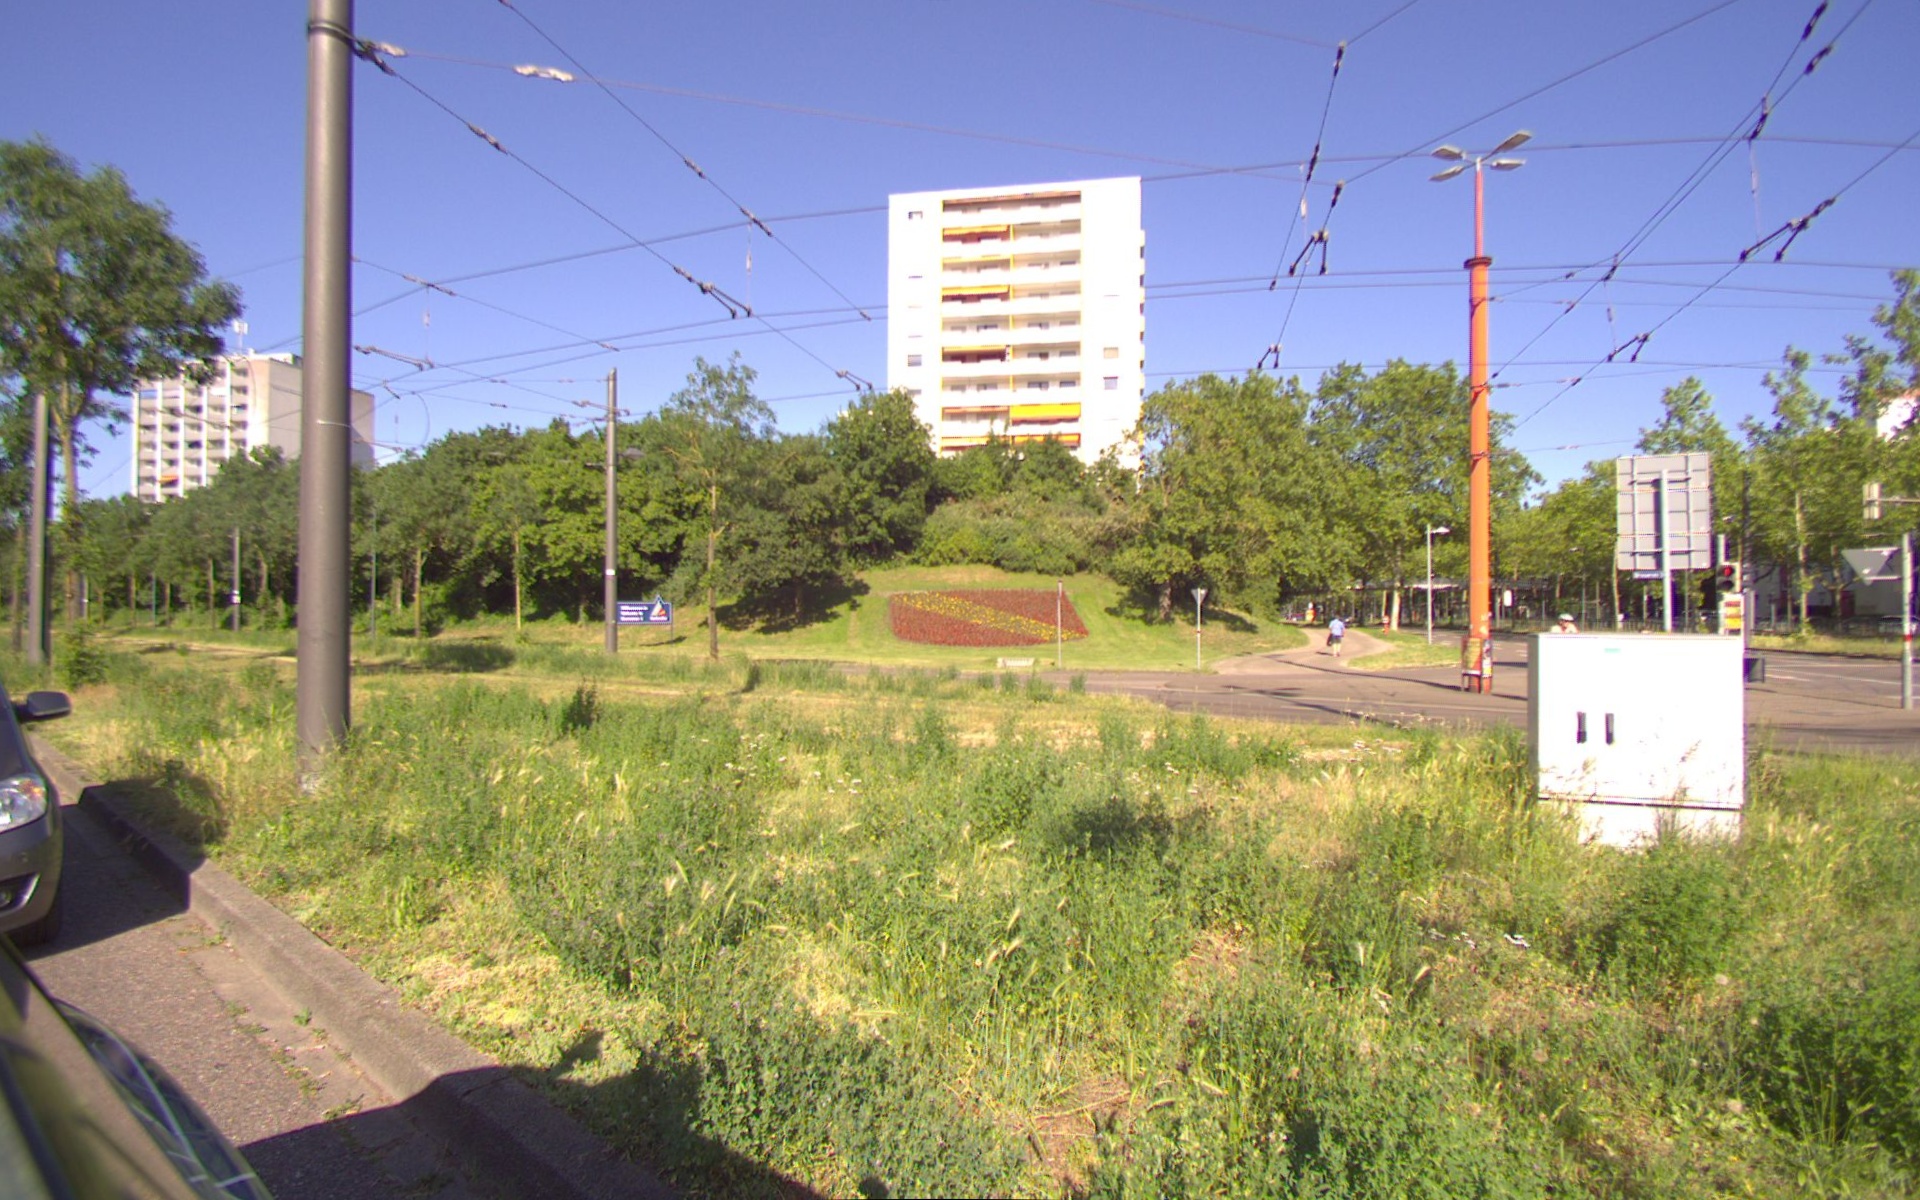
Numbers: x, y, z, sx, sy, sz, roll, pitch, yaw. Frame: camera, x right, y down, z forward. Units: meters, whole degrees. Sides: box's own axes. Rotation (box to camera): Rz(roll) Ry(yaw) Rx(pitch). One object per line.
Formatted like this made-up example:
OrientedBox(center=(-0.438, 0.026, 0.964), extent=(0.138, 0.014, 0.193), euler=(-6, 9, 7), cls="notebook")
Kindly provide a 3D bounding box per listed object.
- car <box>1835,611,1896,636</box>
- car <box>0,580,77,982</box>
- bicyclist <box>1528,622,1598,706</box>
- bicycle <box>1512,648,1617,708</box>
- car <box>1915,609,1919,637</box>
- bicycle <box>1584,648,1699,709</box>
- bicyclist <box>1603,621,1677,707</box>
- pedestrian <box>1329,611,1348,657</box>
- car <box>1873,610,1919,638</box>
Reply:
OrientedBox(center=(66.008, 1.704, 73.763), extent=(3.931, 1.829, 2.006), euler=(1, -2, -27), cls="car")
OrientedBox(center=(-5.946, 0.755, 5.042), extent=(4.382, 1.619, 1.754), euler=(-1, -2, 41), cls="car")
OrientedBox(center=(12.090, 1.260, 20.300), extent=(0.920, 1.650, 0.741), euler=(0, -1, -1), cls="bicyclist")
OrientedBox(center=(12.085, 1.537, 20.317), extent=(0.915, 1.095, 1.888), euler=(0, -1, -2), cls="bicycle")
OrientedBox(center=(64.398, 1.510, 65.904), extent=(3.931, 1.829, 2.006), euler=(1, -2, -27), cls="car")
OrientedBox(center=(13.351, 1.522, 19.915), extent=(0.915, 1.095, 1.888), euler=(0, -1, -2), cls="bicycle")
OrientedBox(center=(13.347, 1.243, 19.882), extent=(0.920, 1.650, 0.741), euler=(0, -1, -1), cls="bicyclist")
OrientedBox(center=(16.267, 1.467, 43.500), extent=(0.729, 1.949, 0.726), euler=(-1, -2, 24), cls="pedestrian")
OrientedBox(center=(65.240, 1.647, 69.867), extent=(3.931, 1.829, 2.006), euler=(1, -2, -27), cls="car")
